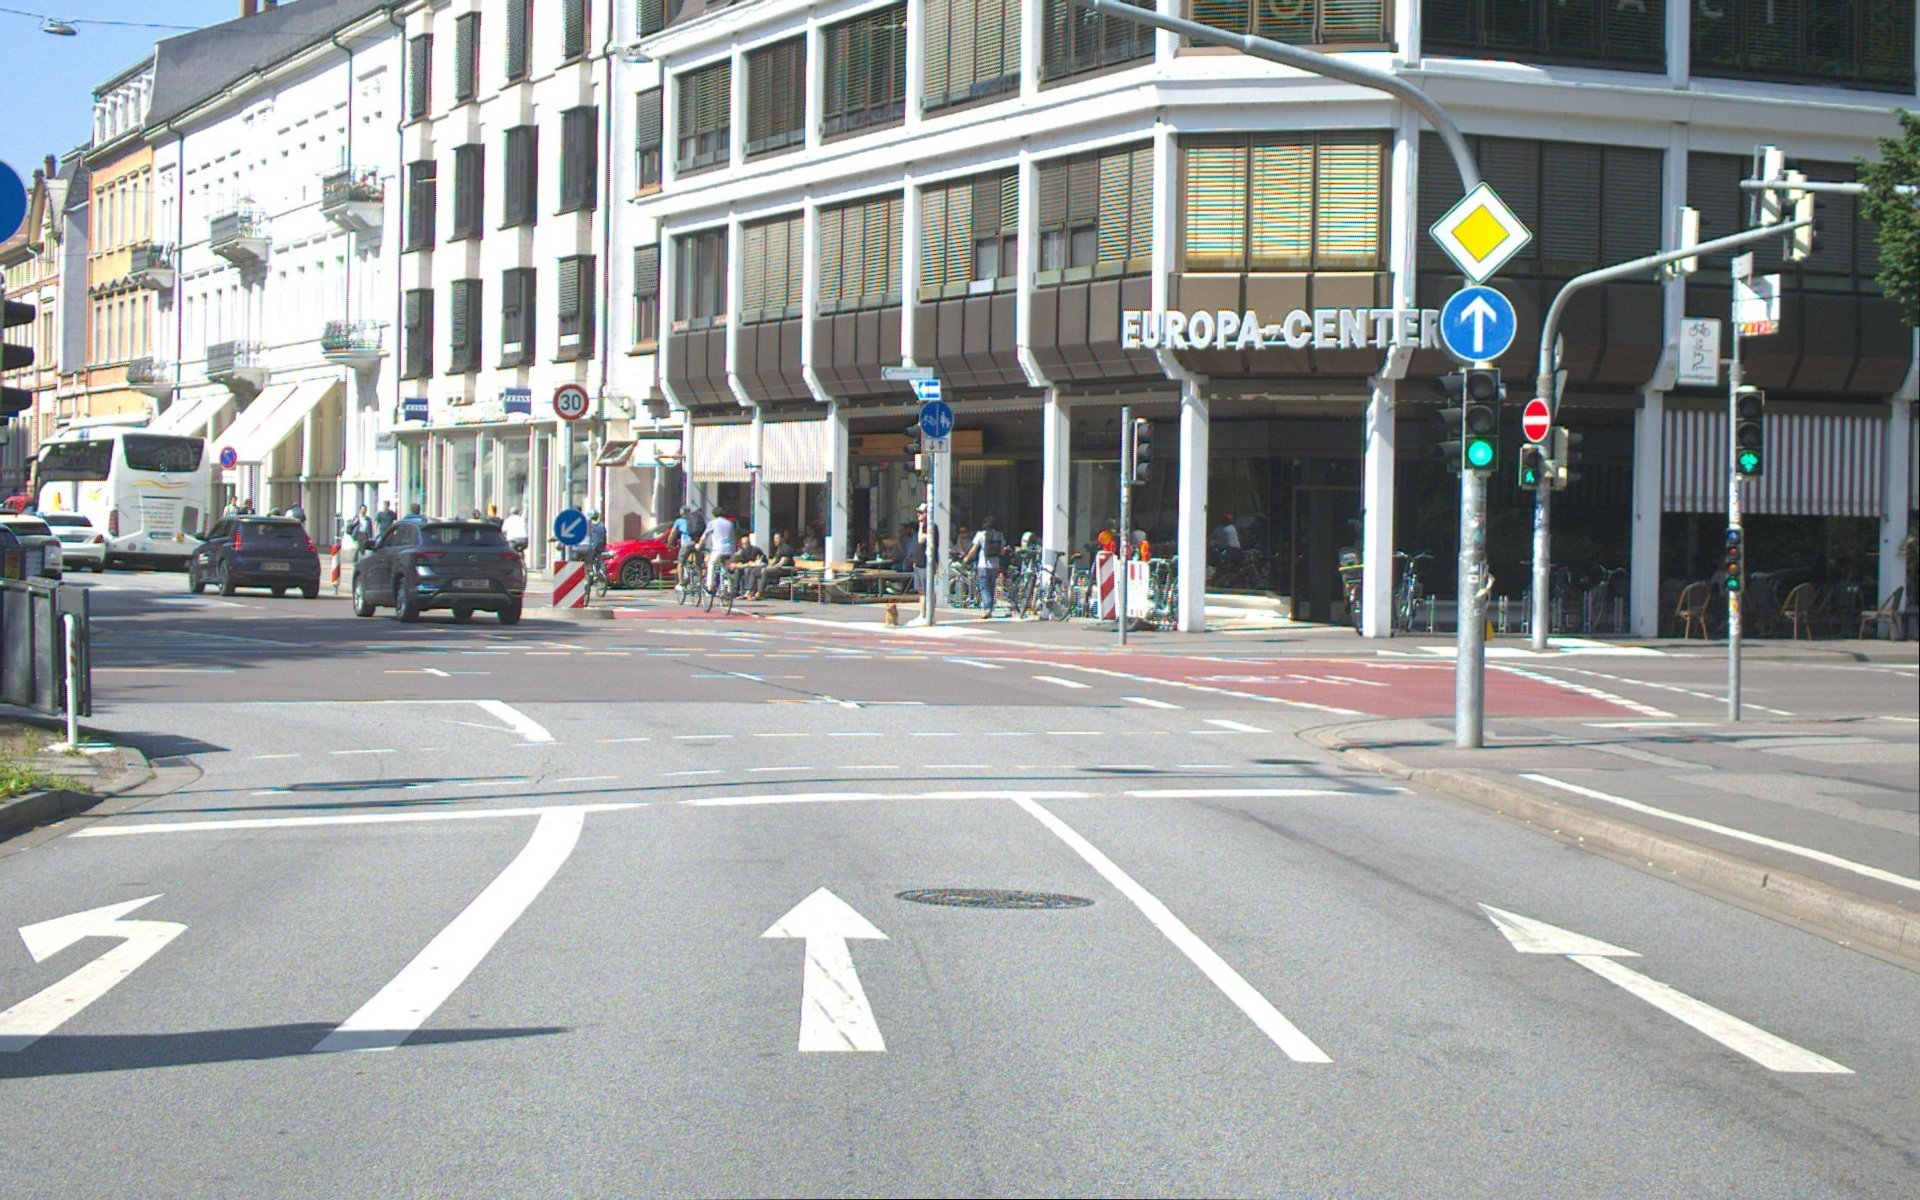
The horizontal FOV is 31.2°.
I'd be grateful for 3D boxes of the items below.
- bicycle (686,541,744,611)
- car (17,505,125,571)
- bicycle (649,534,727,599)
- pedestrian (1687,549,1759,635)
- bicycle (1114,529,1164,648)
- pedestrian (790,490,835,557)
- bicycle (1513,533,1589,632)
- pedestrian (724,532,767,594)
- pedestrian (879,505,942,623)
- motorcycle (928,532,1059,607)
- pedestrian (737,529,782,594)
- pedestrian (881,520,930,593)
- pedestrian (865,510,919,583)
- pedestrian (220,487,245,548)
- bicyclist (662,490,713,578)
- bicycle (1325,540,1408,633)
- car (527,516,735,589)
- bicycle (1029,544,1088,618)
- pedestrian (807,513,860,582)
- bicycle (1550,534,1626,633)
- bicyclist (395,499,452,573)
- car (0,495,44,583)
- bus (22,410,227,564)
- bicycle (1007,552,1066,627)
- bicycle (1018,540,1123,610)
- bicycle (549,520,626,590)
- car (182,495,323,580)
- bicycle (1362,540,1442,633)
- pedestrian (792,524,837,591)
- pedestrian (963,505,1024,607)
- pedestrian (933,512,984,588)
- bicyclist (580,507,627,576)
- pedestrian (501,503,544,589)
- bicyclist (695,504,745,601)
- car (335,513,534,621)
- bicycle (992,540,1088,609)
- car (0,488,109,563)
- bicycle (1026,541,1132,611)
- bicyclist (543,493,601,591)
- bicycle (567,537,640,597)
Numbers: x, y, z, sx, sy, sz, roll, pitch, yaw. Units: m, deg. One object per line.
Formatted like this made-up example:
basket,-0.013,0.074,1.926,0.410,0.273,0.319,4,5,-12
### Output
bicycle,-4.126,-0.417,57.803,0.594,1.116,1.802,1,2,-16
car,-21.286,-1.464,82.239,1.833,1.522,4.001,-1,1,-24
bicycle,-4.819,-0.601,60.745,0.620,1.095,2.353,1,1,-23
pedestrian,12.152,-0.140,54.750,0.828,1.330,0.970,2,2,30
bicycle,2.721,-0.165,52.183,0.376,1.477,1.056,-1,-27,18
pedestrian,-3.052,-1.577,71.110,0.744,1.363,0.584,0,1,-25
bicycle,8.958,-0.277,52.073,0.530,1.417,1.964,2,3,28
pedestrian,-4.113,-0.710,65.898,0.711,1.169,0.697,0,0,-15
pedestrian,-0.777,-0.561,53.832,0.832,1.829,0.697,0,0,-15
motorcycle,0.591,-0.537,60.260,2.236,1.286,0.948,0,0,5
pedestrian,-3.797,-0.726,65.101,0.711,1.212,0.697,0,0,-15
pedestrian,-1.049,-0.828,65.753,0.711,1.392,0.697,0,0,-24
pedestrian,-1.323,-1.036,66.554,0.813,1.392,0.697,0,0,-25
pedestrian,-21.359,-2.409,100.930,0.573,1.772,1.020,0,0,-21
bicyclist,-4.825,-1.165,60.793,0.620,1.524,0.869,1,1,-23
bicycle,6.027,-0.213,50.856,0.530,1.312,1.964,2,3,28
car,-6.976,-0.982,72.844,4.043,1.489,1.842,0,-1,-22
bicycle,1.565,-0.311,54.937,0.276,1.116,2.244,1,2,-16
pedestrian,-2.584,-1.072,70.236,0.876,1.363,0.537,3,0,-25
bicycle,9.456,-0.259,51.744,0.530,1.417,1.964,2,3,28
bicyclist,-11.830,-1.408,75.803,0.982,1.593,1.056,1,1,-24
car,-16.238,-1.030,56.157,1.936,1.350,4.251,0,2,-22
bus,-22.565,-3.038,92.222,2.881,3.729,12.430,2,1,-25
bicycle,1.215,-0.182,54.759,0.276,1.116,2.244,1,2,-16
bicycle,1.817,-0.415,56.351,1.716,1.116,0.278,-1,2,-17
bicycle,-6.554,-0.800,60.339,0.664,1.116,2.244,3,2,-23
car,-13.205,-1.152,64.032,1.832,1.522,4.001,-1,1,-22
bicycle,6.519,-0.212,50.662,0.530,1.312,1.856,2,3,28
pedestrian,-2.989,-0.874,70.567,0.760,1.363,0.478,0,1,-25
pedestrian,0.550,-0.718,56.183,0.832,1.657,0.697,0,0,-15
pedestrian,-0.032,-0.925,63.901,0.711,1.392,0.697,0,0,-24
bicyclist,-6.864,-1.128,66.094,0.620,1.292,0.867,1,1,-25
pedestrian,-8.860,-1.097,69.657,0.620,1.714,0.836,1,1,-22
bicyclist,-4.029,-0.803,57.661,0.694,1.620,0.836,0,1,-15
car,-7.893,-0.511,51.369,1.833,1.522,4.001,-2,1,-26
bicycle,1.320,-0.417,56.712,1.570,1.116,0.278,-1,2,-17
car,-18.835,-1.555,70.836,1.862,1.436,4.001,1,2,-24
bicycle,1.936,-0.390,55.973,1.716,1.116,0.278,-1,2,-17
bicyclist,-6.826,-1.022,60.492,0.694,1.668,0.916,3,2,-22
bicycle,-6.865,-0.644,66.075,0.620,1.095,2.353,1,1,-25
